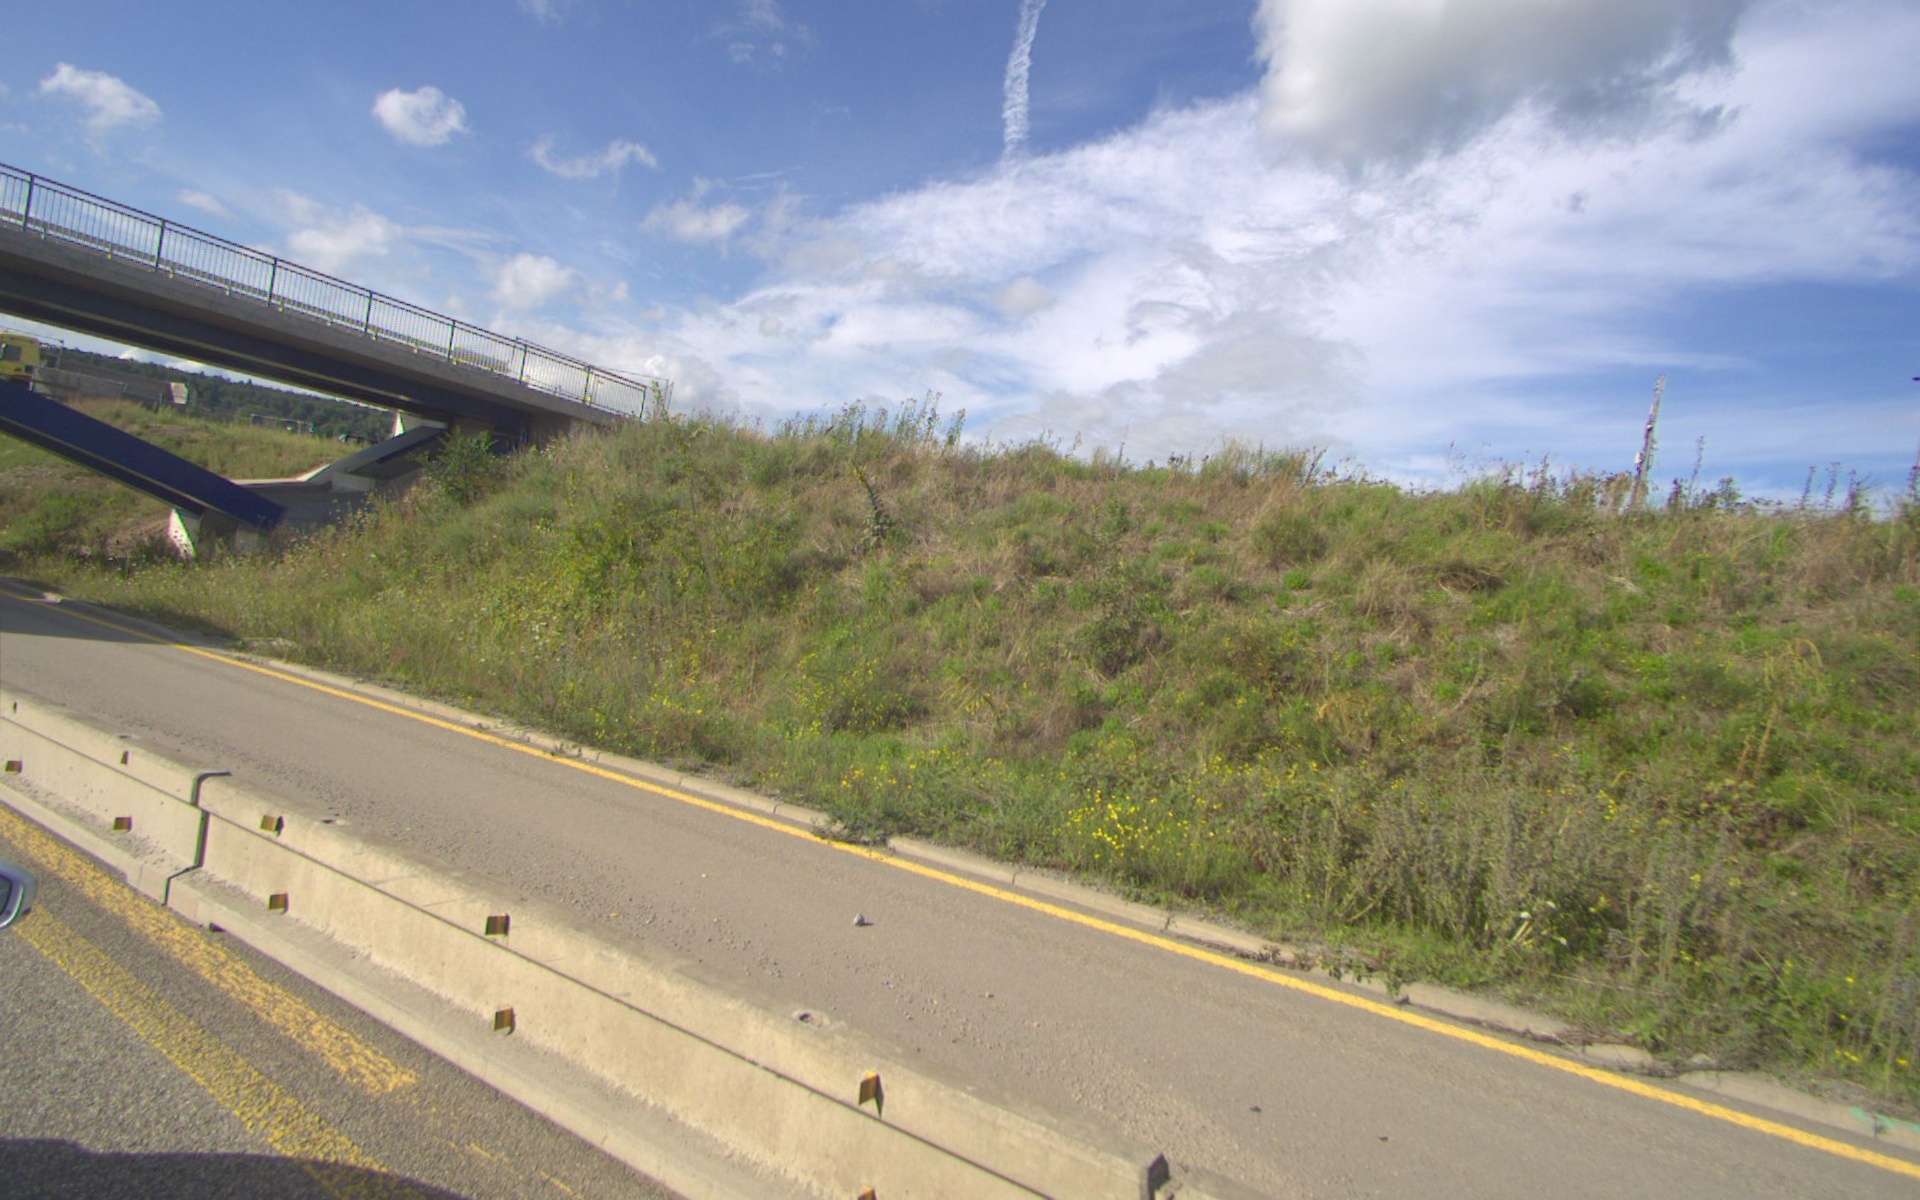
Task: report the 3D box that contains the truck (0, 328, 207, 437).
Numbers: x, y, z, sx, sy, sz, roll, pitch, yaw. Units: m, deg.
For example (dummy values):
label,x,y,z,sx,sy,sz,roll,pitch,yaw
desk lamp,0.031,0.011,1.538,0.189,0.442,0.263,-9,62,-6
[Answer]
label,x,y,z,sx,sy,sz,roll,pitch,yaw
truck,-44.644,-11.014,51.369,2.911,3.266,9.277,7,-1,33
